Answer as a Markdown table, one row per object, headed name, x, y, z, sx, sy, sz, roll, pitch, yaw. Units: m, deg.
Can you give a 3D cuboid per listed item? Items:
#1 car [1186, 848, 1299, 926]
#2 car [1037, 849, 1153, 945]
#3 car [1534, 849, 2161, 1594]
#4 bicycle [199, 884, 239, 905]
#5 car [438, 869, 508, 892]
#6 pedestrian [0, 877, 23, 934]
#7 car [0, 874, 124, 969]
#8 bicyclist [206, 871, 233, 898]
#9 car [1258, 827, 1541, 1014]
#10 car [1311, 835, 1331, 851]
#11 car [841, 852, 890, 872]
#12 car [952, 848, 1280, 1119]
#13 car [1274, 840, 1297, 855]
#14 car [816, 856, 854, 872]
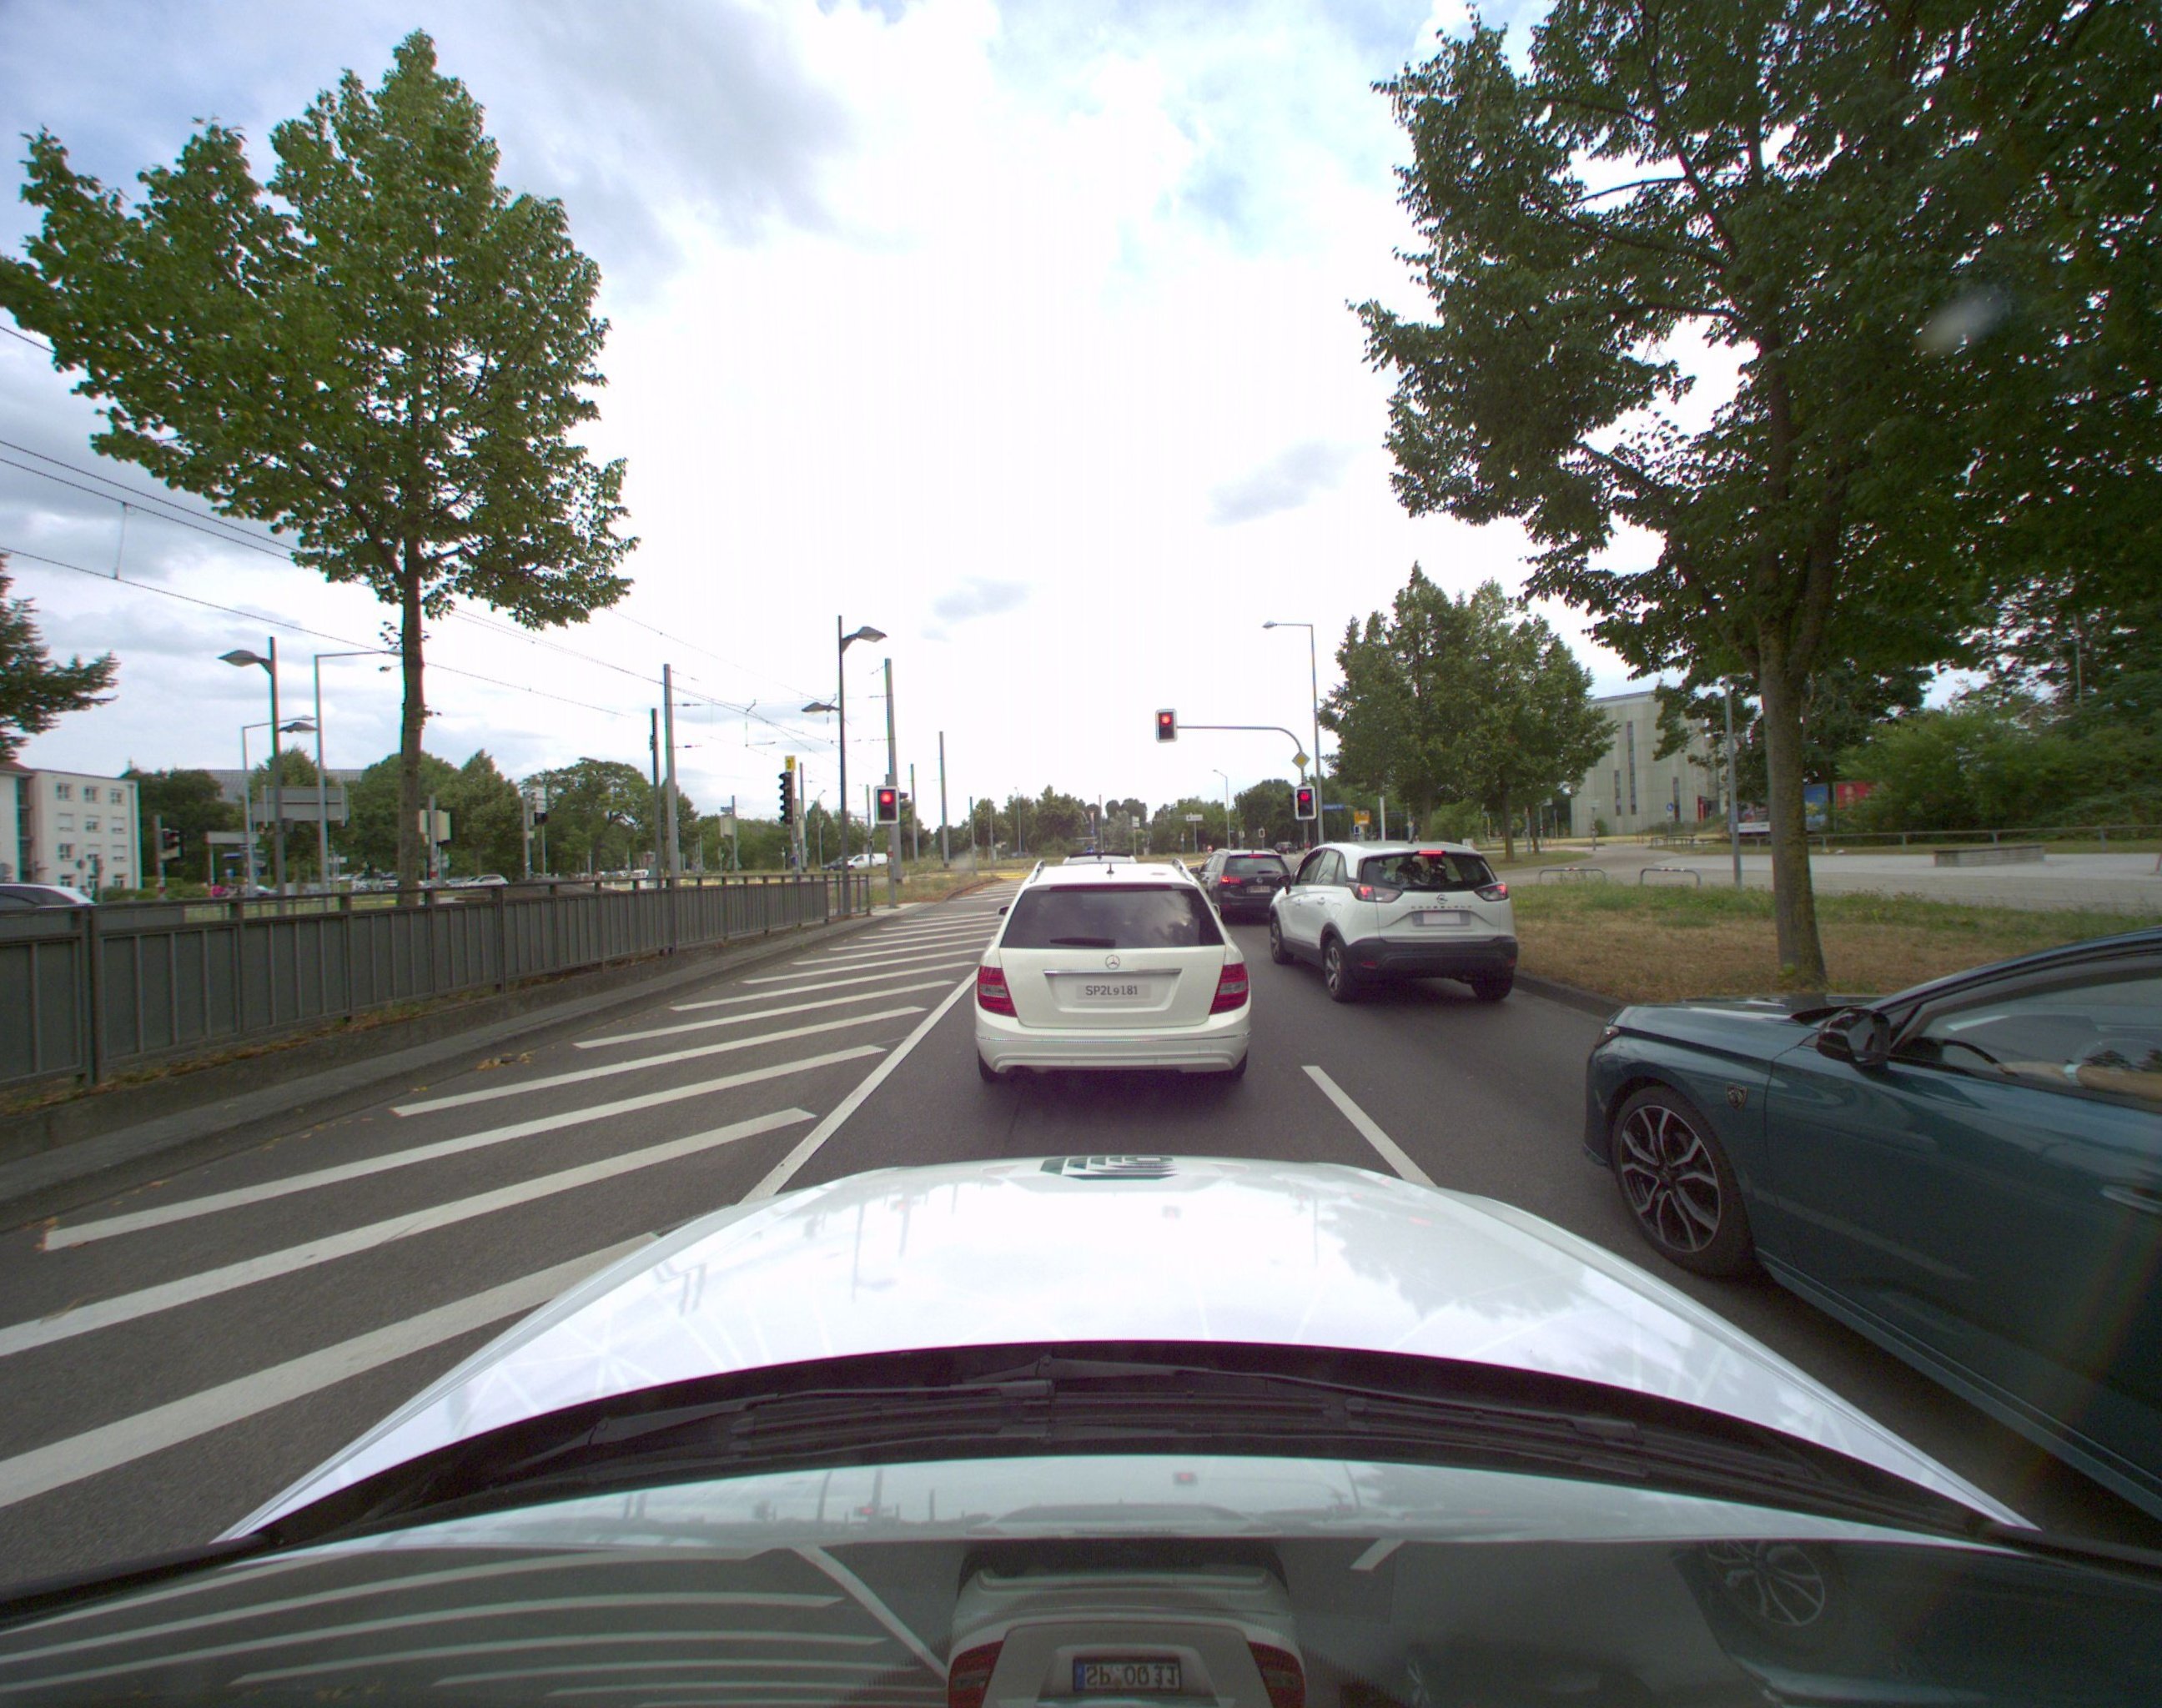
| name | x | y | z | sx | sy | sz | roll | pitch | yaw |
| --- | --- | --- | --- | --- | --- | --- | --- | --- | --- |
| car | 3.308 | 0.610 | 17.385 | 1.619 | 1.448 | 3.910 | -1 | 0 | 0 |
| car | 0.217 | 0.651 | 14.465 | 1.768 | 1.448 | 3.910 | -1 | 0 | 0 |
| car | 3.000 | 0.722 | 1.564 | 1.782 | 1.432 | 4.308 | -1 | 0 | -1 |
| bicycle | -51.641 | 2.424 | 48.835 | 0.811 | 1.129 | 2.683 | -2 | 0 | -28 |
| car | -49.346 | 2.146 | 66.148 | 1.974 | 1.641 | 4.026 | -2 | 0 | 33 |
| pedestrian | -35.465 | 1.696 | 26.781 | 0.652 | 1.850 | 0.486 | -2 | 0 | -36 |
| car | -20.027 | 1.256 | 13.924 | 1.986 | 1.618 | 4.387 | -2 | 0 | 2 |
| bicyclist | -51.591 | 1.802 | 48.783 | 0.894 | 1.562 | 0.743 | -2 | 0 | -31 |
| car | 3.317 | 0.593 | 9.345 | 1.780 | 1.624 | 3.912 | -2 | 0 | 2 |
| car | 26.925 | -1.205 | 91.373 | 1.771 | 1.636 | 4.416 | -2 | 0 | 11 |
| car | -24.143 | 0.931 | 91.292 | 5.016 | 2.013 | 1.981 | -2 | 0 | -31 |
| car | 0.193 | 0.692 | 6.387 | 1.768 | 1.448 | 3.910 | -1 | 0 | 0 |
| car | 25.238 | -0.808 | 100.370 | 1.975 | 1.791 | 4.023 | 0 | 0 | 25 |
| car | -28.303 | 1.148 | 93.658 | 4.005 | 1.719 | 1.984 | 0 | 0 | -24 |
